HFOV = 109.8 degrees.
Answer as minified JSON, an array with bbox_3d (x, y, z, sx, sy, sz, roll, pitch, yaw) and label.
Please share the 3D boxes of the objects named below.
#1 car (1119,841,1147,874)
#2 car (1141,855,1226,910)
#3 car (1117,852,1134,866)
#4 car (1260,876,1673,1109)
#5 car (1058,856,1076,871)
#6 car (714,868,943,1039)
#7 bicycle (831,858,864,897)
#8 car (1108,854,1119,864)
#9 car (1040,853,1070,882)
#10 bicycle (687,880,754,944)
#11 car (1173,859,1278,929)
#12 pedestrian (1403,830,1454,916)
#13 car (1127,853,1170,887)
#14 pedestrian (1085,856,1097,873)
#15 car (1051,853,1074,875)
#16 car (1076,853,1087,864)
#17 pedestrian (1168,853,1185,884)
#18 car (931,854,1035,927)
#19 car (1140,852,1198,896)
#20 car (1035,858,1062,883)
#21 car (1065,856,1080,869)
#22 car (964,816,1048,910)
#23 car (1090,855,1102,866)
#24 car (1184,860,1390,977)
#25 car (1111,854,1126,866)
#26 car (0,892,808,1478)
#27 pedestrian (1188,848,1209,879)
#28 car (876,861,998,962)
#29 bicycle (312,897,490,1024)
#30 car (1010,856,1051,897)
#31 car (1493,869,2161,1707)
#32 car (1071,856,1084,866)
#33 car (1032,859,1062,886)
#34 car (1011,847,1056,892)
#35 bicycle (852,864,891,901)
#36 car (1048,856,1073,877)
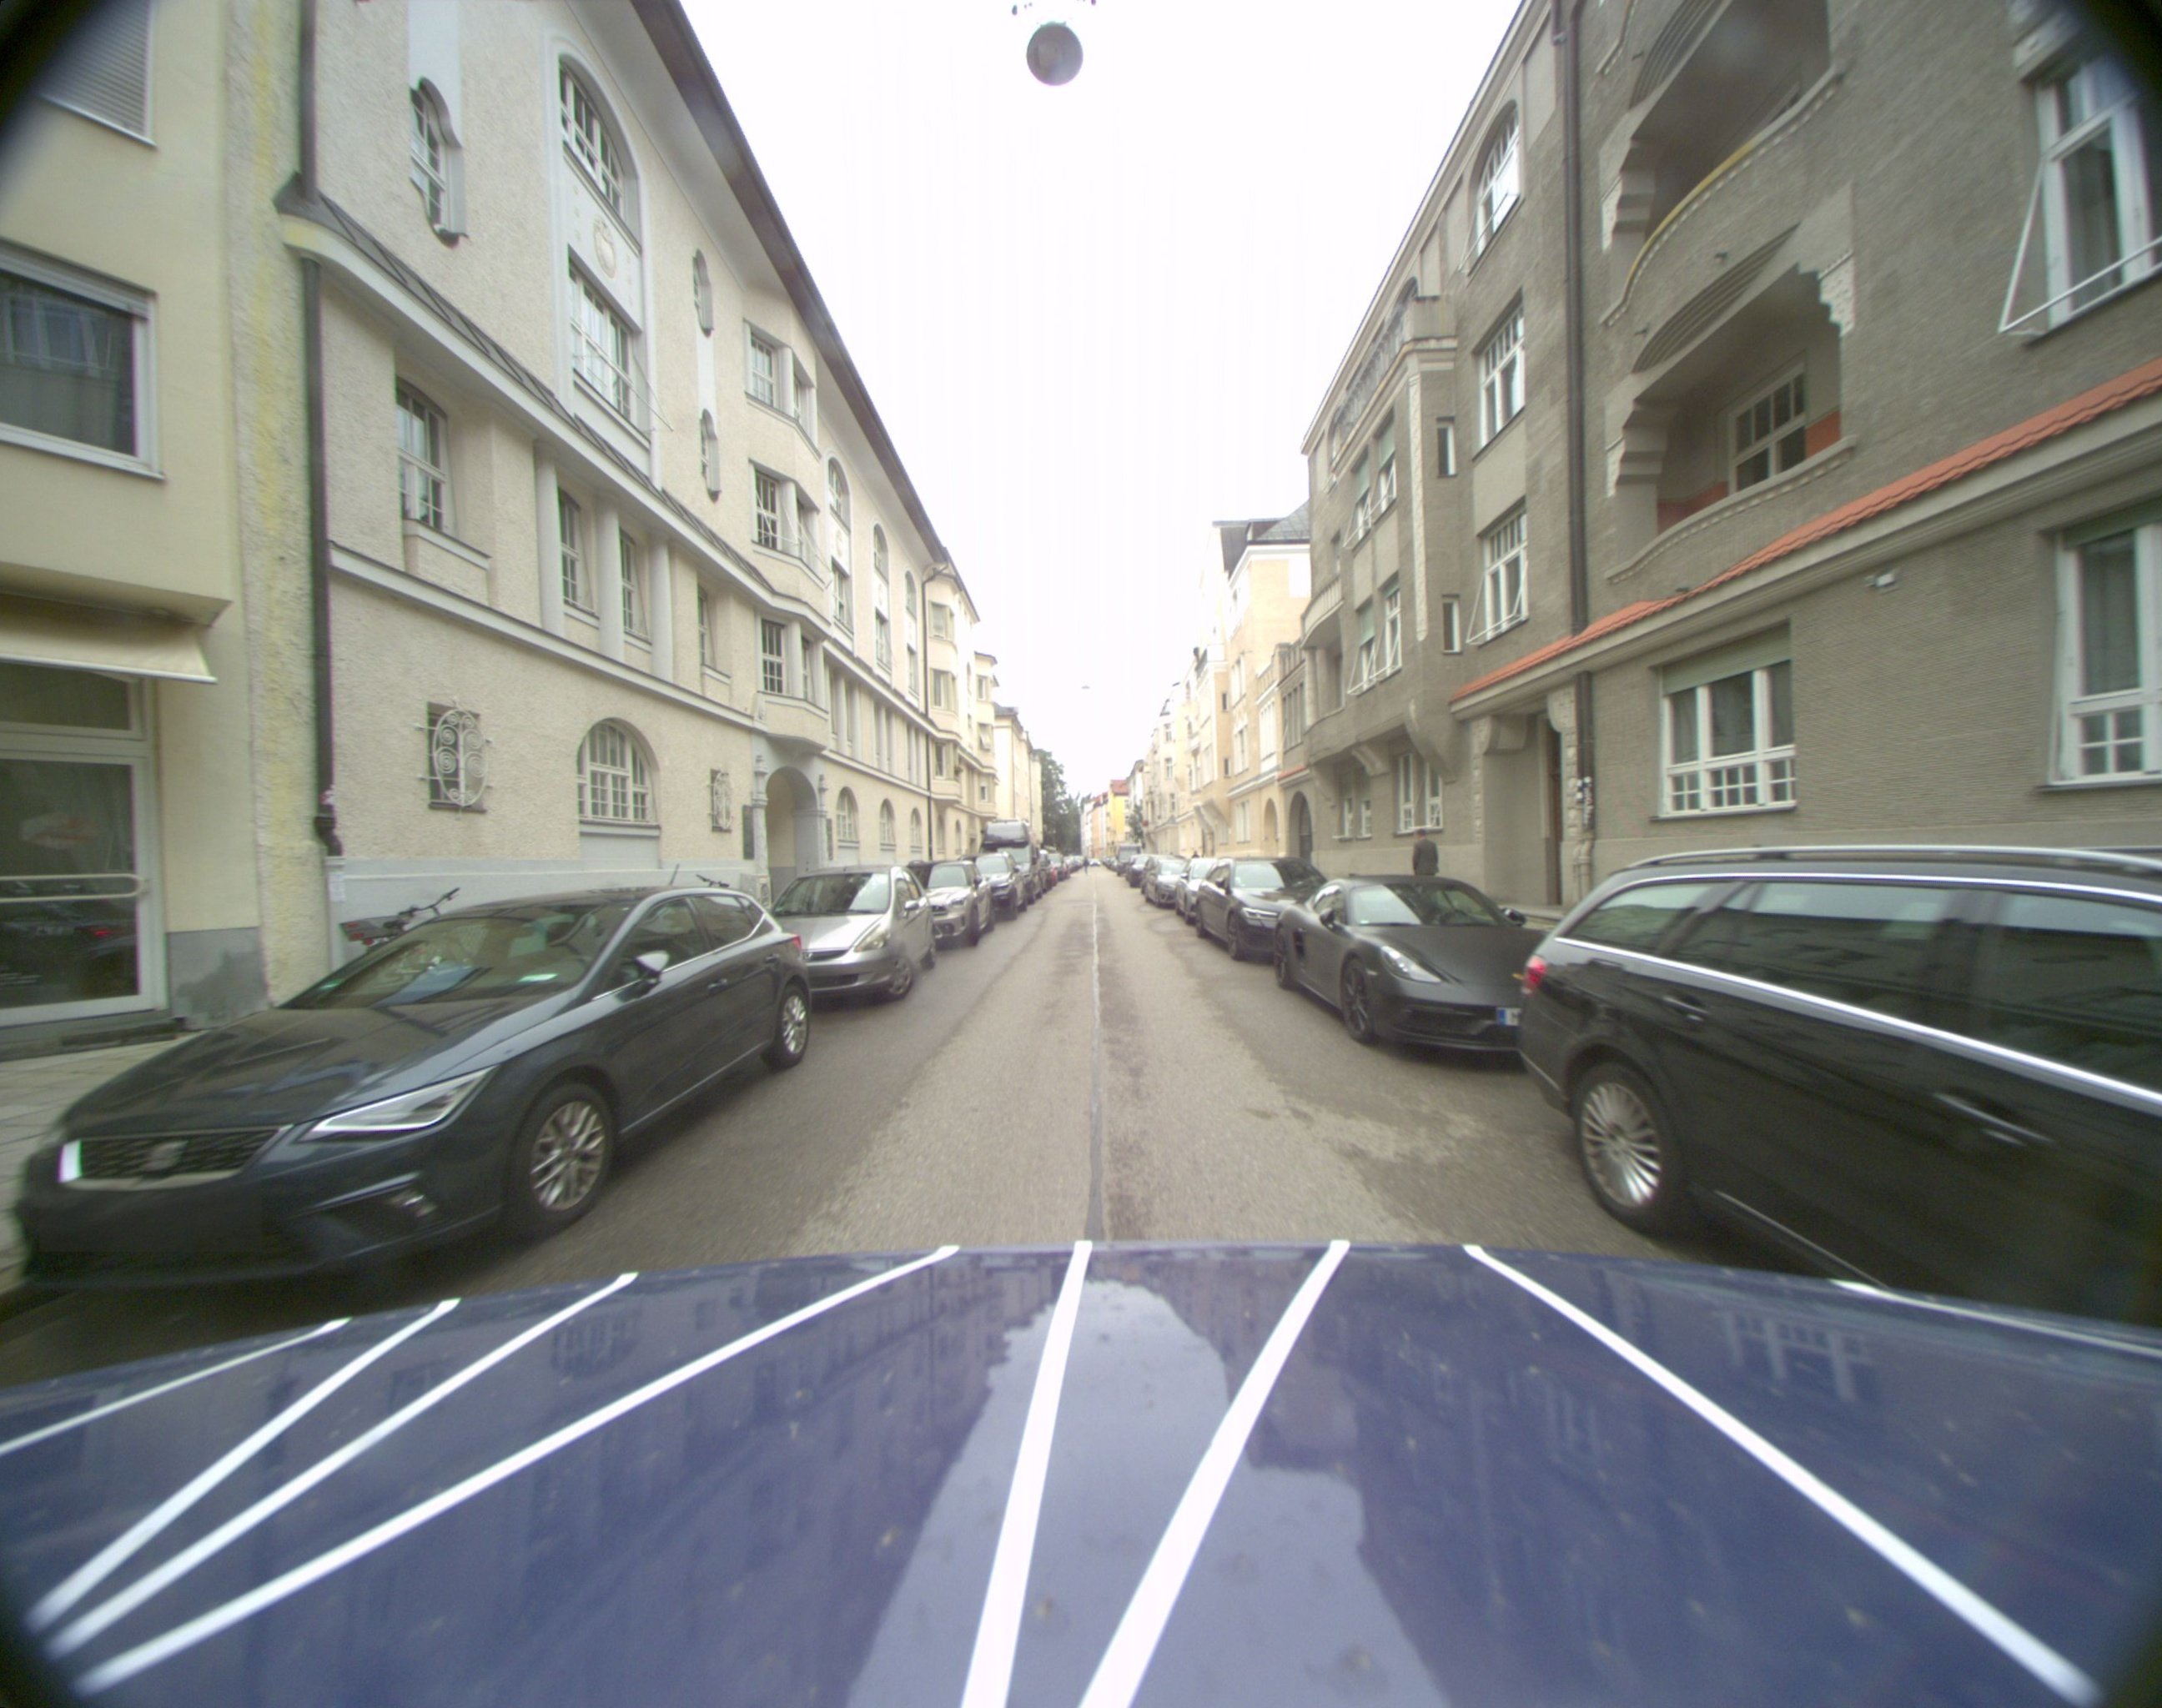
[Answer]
[{"bbox_3d":[4.241,0.285,62.683,2.104,2.606,5.679,0,0,2],"label":"car"},{"bbox_3d":[3.033,0.790,23.383,1.842,1.504,4.607,-1,0,-1],"label":"car"},{"bbox_3d":[4.767,0.519,82.399,1.683,1.390,3.705,-2,0,1],"label":"car"},{"bbox_3d":[2.930,0.947,6.882,1.759,1.323,4.097,-2,0,2],"label":"car"},{"bbox_3d":[-1.412,1.012,79.338,1.683,1.434,3.645,-2,0,1],"label":"car"},{"bbox_3d":[-2.815,1.007,9.371,1.638,1.528,3.854,-2,0,-3],"label":"car"},{"bbox_3d":[-7.122,0.694,23.230,0.483,1.144,1.788,1,0,-1],"label":"bicycle"},{"bbox_3d":[5.403,0.833,126.668,1.683,1.628,3.705,-2,0,0],"label":"car"},{"bbox_3d":[-1.819,0.922,54.267,1.880,1.925,4.663,-3,0,0],"label":"car"},{"bbox_3d":[-7.262,1.138,15.383,0.483,1.144,1.788,-2,0,-1],"label":"bicycle"},{"bbox_3d":[3.229,0.838,17.842,1.810,1.423,4.440,0,0,3],"label":"car"},{"bbox_3d":[7.518,0.406,16.448,0.718,1.806,0.730,-2,1,0],"label":"pedestrian"},{"bbox_3d":[3.428,0.772,39.199,1.955,1.649,4.618,-1,0,2],"label":"car"},{"bbox_3d":[0.885,1.002,69.805,1.014,1.514,0.715,-2,1,4],"label":"pedestrian"},{"bbox_3d":[-1.541,0.859,64.742,1.683,1.767,3.457,-2,0,1],"label":"car"},{"bbox_3d":[0.104,0.718,124.740,1.683,1.671,3.645,-2,0,1],"label":"car"},{"bbox_3d":[5.730,0.874,45.607,0.837,1.779,0.741,-2,1,1],"label":"pedestrian"},{"bbox_3d":[-2.512,0.882,20.670,1.998,1.679,4.674,-3,0,2],"label":"car"},{"bbox_3d":[3.426,0.745,30.149,1.807,1.563,3.813,-2,0,0],"label":"car"},{"bbox_3d":[-2.007,1.033,48.282,1.496,1.463,3.675,-3,0,0],"label":"car"},{"bbox_3d":[-0.972,0.974,88.497,1.683,1.375,3.645,-2,0,1],"label":"car"},{"bbox_3d":[-2.588,0.240,27.906,2.260,2.943,6.131,-3,1,1],"label":"car"},{"bbox_3d":[2.739,1.155,139.462,1.999,1.788,3.999,-2,0,-3],"label":"car"},{"bbox_3d":[3.015,0.862,12.321,1.999,1.440,4.778,-1,0,0],"label":"car"},{"bbox_3d":[4.791,0.750,98.227,1.683,1.390,3.705,-2,0,0],"label":"car"},{"bbox_3d":[-3.033,1.067,4.116,1.638,1.463,3.855,-2,0,0],"label":"car"},{"bbox_3d":[6.717,0.521,43.590,0.995,1.718,0.939,-2,1,1],"label":"pedestrian"},{"bbox_3d":[-2.638,0.988,14.779,1.638,1.582,3.968,-2,0,-1],"label":"car"},{"bbox_3d":[-7.495,1.118,8.490,0.564,1.186,1.676,1,0,-4],"label":"bicycle"},{"bbox_3d":[-2.164,0.949,33.219,1.546,1.616,2.815,-2,0,0],"label":"car"},{"bbox_3d":[2.845,0.854,1.440,1.759,1.506,4.708,-2,0,3],"label":"car"},{"bbox_3d":[-0.491,0.987,110.972,1.683,1.434,3.645,-2,0,1],"label":"car"},{"bbox_3d":[-1.958,1.041,44.206,1.496,1.463,3.503,-3,0,0],"label":"car"},{"bbox_3d":[-2.275,0.709,37.605,1.800,2.027,4.071,-2,0,2],"label":"car"},{"bbox_3d":[-6.956,0.915,25.282,0.482,1.144,1.789,-2,0,10],"label":"bicycle"},{"bbox_3d":[-1.551,0.964,59.329,1.731,1.458,3.738,-2,0,1],"label":"car"}]
